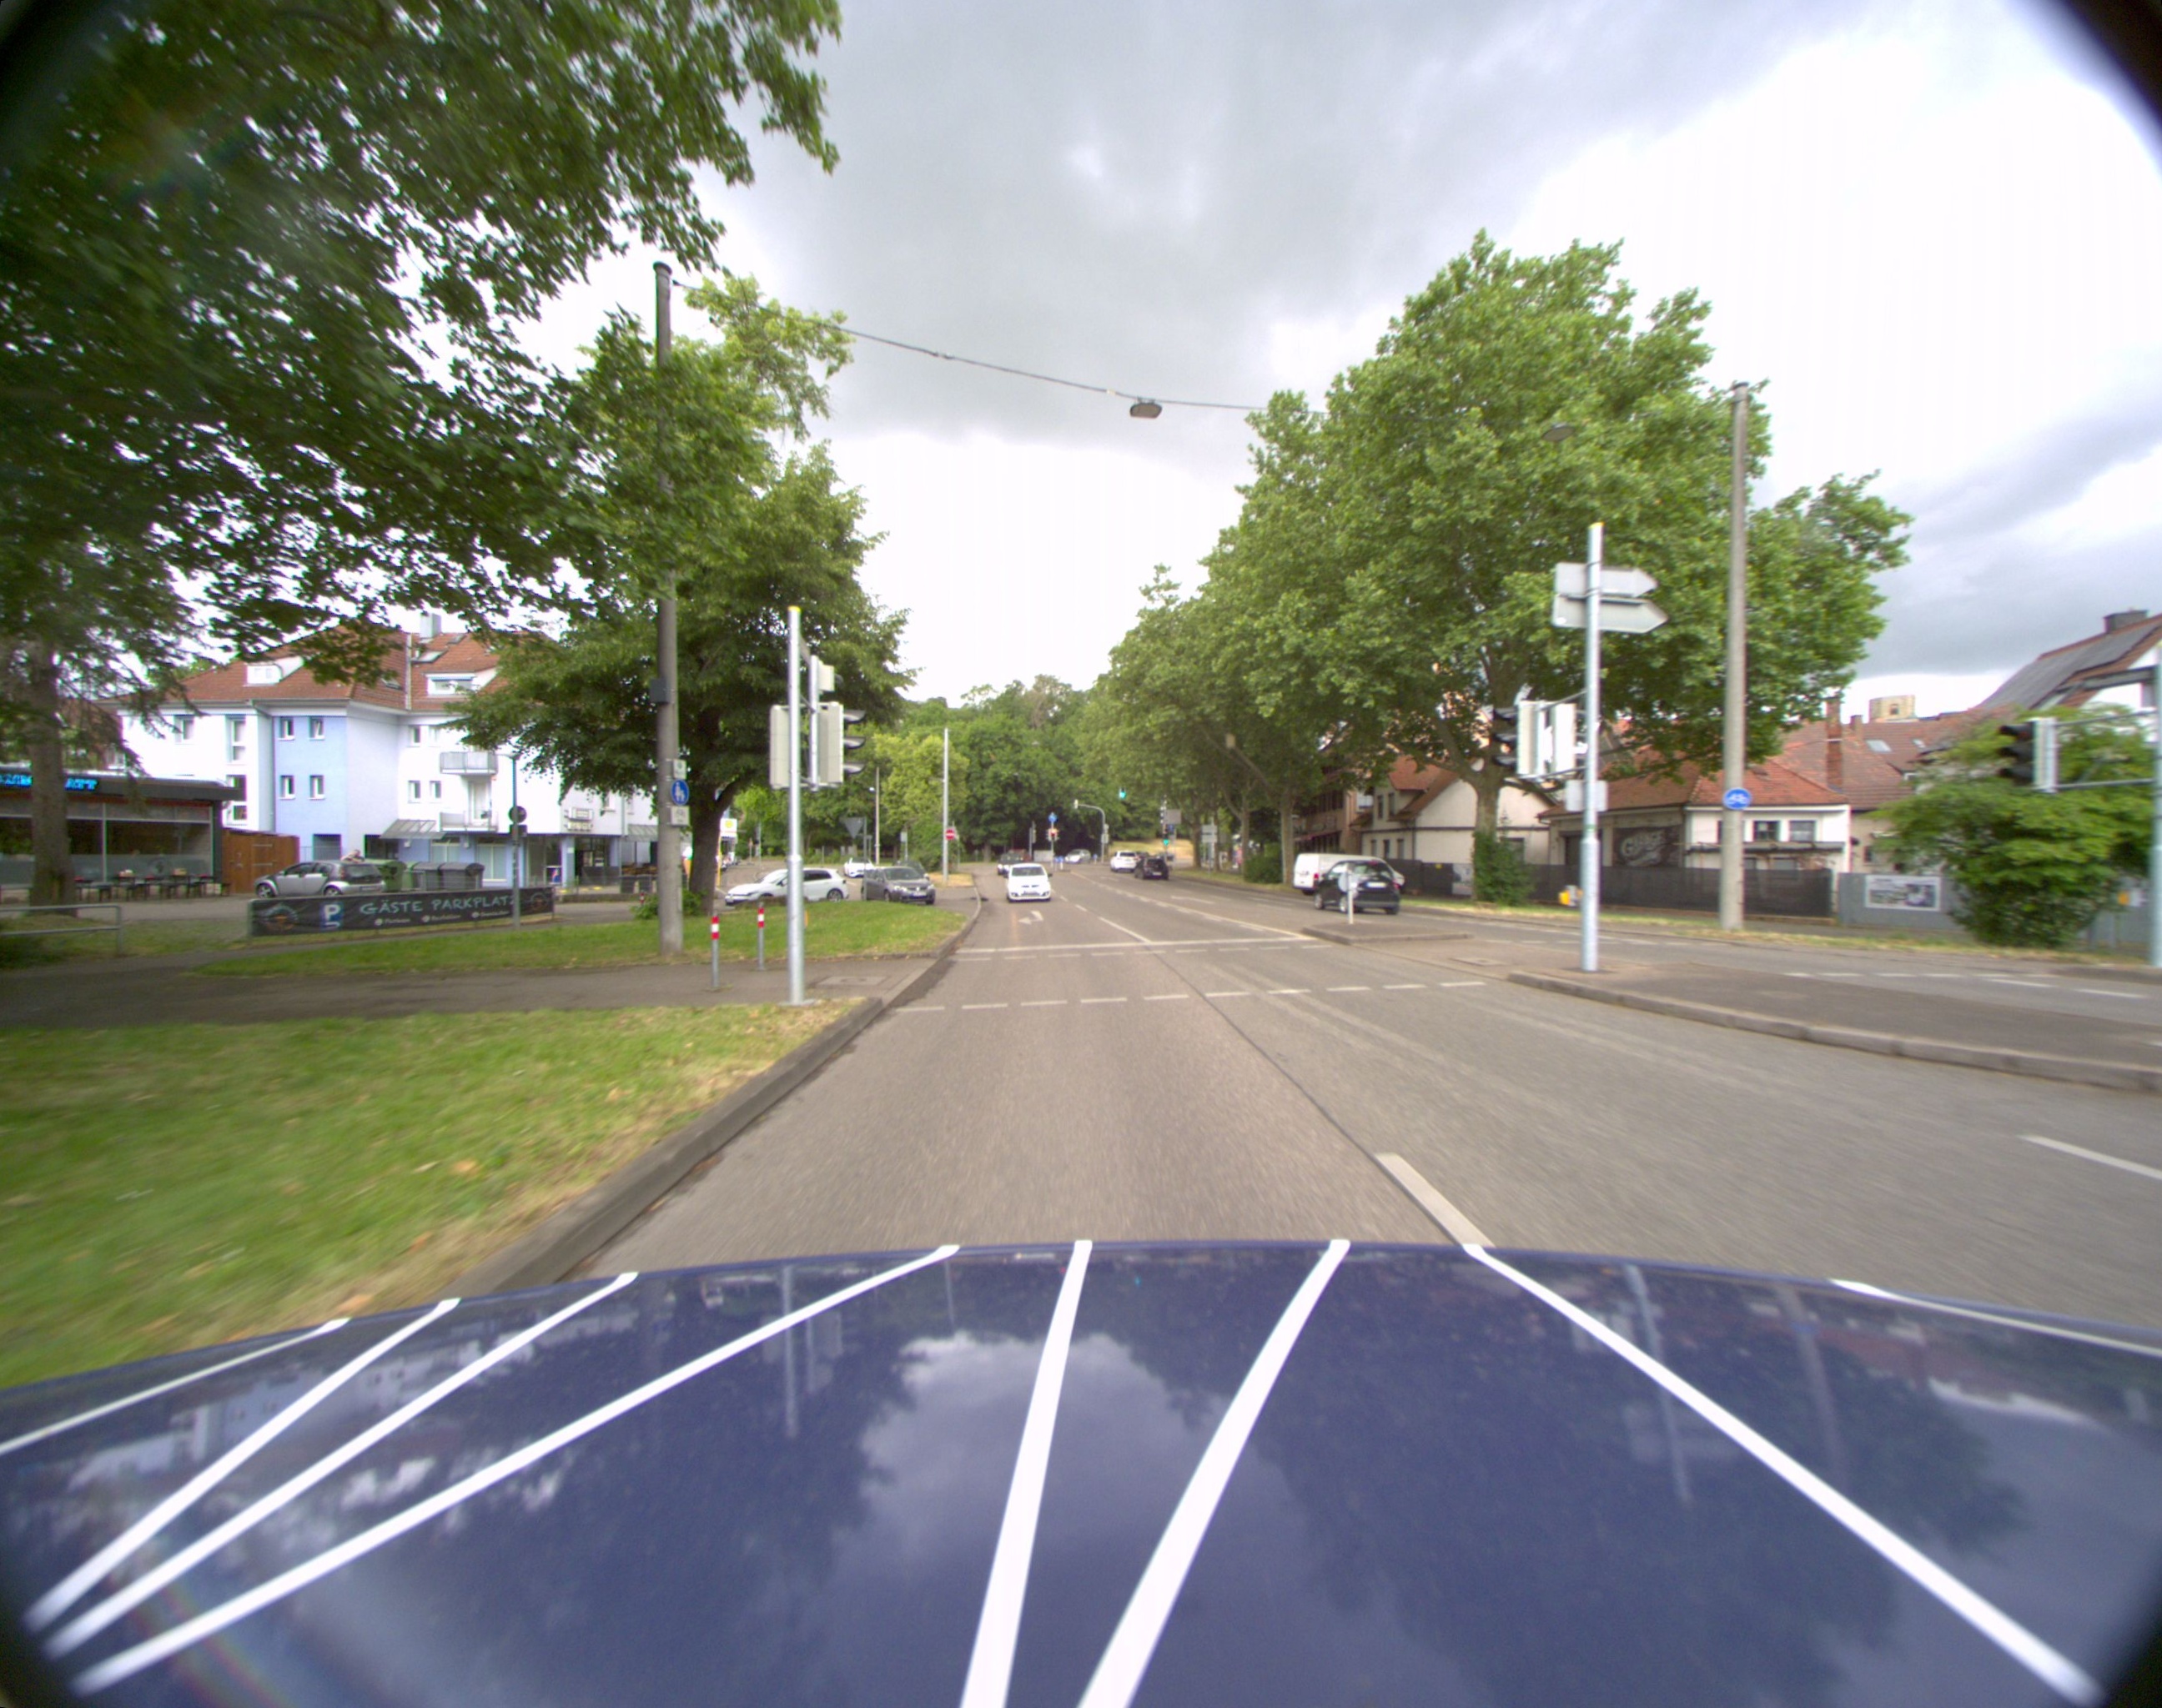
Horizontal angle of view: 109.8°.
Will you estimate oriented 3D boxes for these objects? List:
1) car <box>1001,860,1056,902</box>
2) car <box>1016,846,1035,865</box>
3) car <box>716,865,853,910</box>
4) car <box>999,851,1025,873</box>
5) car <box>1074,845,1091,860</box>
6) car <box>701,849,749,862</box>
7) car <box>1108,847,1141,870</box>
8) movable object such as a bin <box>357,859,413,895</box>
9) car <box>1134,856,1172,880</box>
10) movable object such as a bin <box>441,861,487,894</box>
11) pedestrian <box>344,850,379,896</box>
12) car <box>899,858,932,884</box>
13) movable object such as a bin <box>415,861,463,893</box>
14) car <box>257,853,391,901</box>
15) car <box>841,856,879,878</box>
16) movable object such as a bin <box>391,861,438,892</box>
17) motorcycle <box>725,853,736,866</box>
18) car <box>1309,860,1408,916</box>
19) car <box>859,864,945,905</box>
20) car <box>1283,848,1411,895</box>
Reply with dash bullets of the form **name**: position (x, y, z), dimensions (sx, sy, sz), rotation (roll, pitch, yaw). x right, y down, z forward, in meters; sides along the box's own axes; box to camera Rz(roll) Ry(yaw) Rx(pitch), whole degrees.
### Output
- **car**: position (-2.176, 1.031, 30.567), dimensions (1.630, 1.499, 3.995), rotation (0, 0, -12)
- **car**: position (-5.195, 0.135, 70.486), dimensions (1.676, 1.632, 4.097), rotation (1, 1, -6)
- **car**: position (-10.573, 1.143, 27.354), dimensions (1.759, 1.372, 4.270), rotation (0, 1, 39)
- **car**: position (-5.104, 0.577, 56.230), dimensions (1.731, 1.512, 3.996), rotation (0, 1, -8)
- **car**: position (0.148, -0.212, 87.572), dimensions (1.783, 1.560, 3.998), rotation (1, 1, -2)
- **car**: position (-39.781, 0.168, 84.958), dimensions (4.541, 1.447, 1.901), rotation (0, 1, 5)
- **car**: position (3.463, 0.362, 61.419), dimensions (1.917, 1.753, 4.749), rotation (1, 1, -6)
- **movable object such as a bin**: position (-27.175, 0.883, 29.688), dimensions (1.219, 1.337, 0.995), rotation (1, 2, 0)
- **car**: position (4.662, 0.873, 49.665), dimensions (1.573, 1.374, 3.946), rotation (2, 1, -7)
- **movable object such as a bin**: position (-28.228, 1.071, 34.791), dimensions (1.216, 1.408, 1.095), rotation (1, 2, 9)
- **pedestrian**: position (-27.002, 0.702, 28.527), dimensions (0.689, 1.720, 0.611), rotation (1, 2, -1)
- **car**: position (-9.487, 0.949, 43.699), dimensions (1.573, 1.396, 3.492), rotation (0, 0, -7)
- **movable object such as a bin**: position (-29.570, 1.049, 35.018), dimensions (1.216, 1.387, 1.162), rotation (1, 2, 9)
- **car**: position (-27.380, 0.807, 27.541), dimensions (3.420, 1.621, 1.625), rotation (1, 2, 6)
- **car**: position (-16.173, 0.923, 55.551), dimensions (2.003, 1.379, 4.777), rotation (0, 2, -24)
- **movable object such as a bin**: position (-30.870, 1.029, 35.192), dimensions (1.216, 1.387, 1.095), rotation (1, 2, 9)
- **motorcycle**: position (-27.738, 0.403, 60.189), dimensions (0.522, 0.980, 1.820), rotation (0, 1, -16)
- **car**: position (8.126, 0.951, 22.536), dimensions (1.573, 1.518, 3.188), rotation (1, -1, -4)
- **car**: position (-6.833, 1.103, 28.676), dimensions (1.737, 1.420, 4.102), rotation (-1, 0, -35)
- **car**: position (12.098, 0.786, 34.601), dimensions (5.248, 1.920, 2.080), rotation (2, 0, -19)
